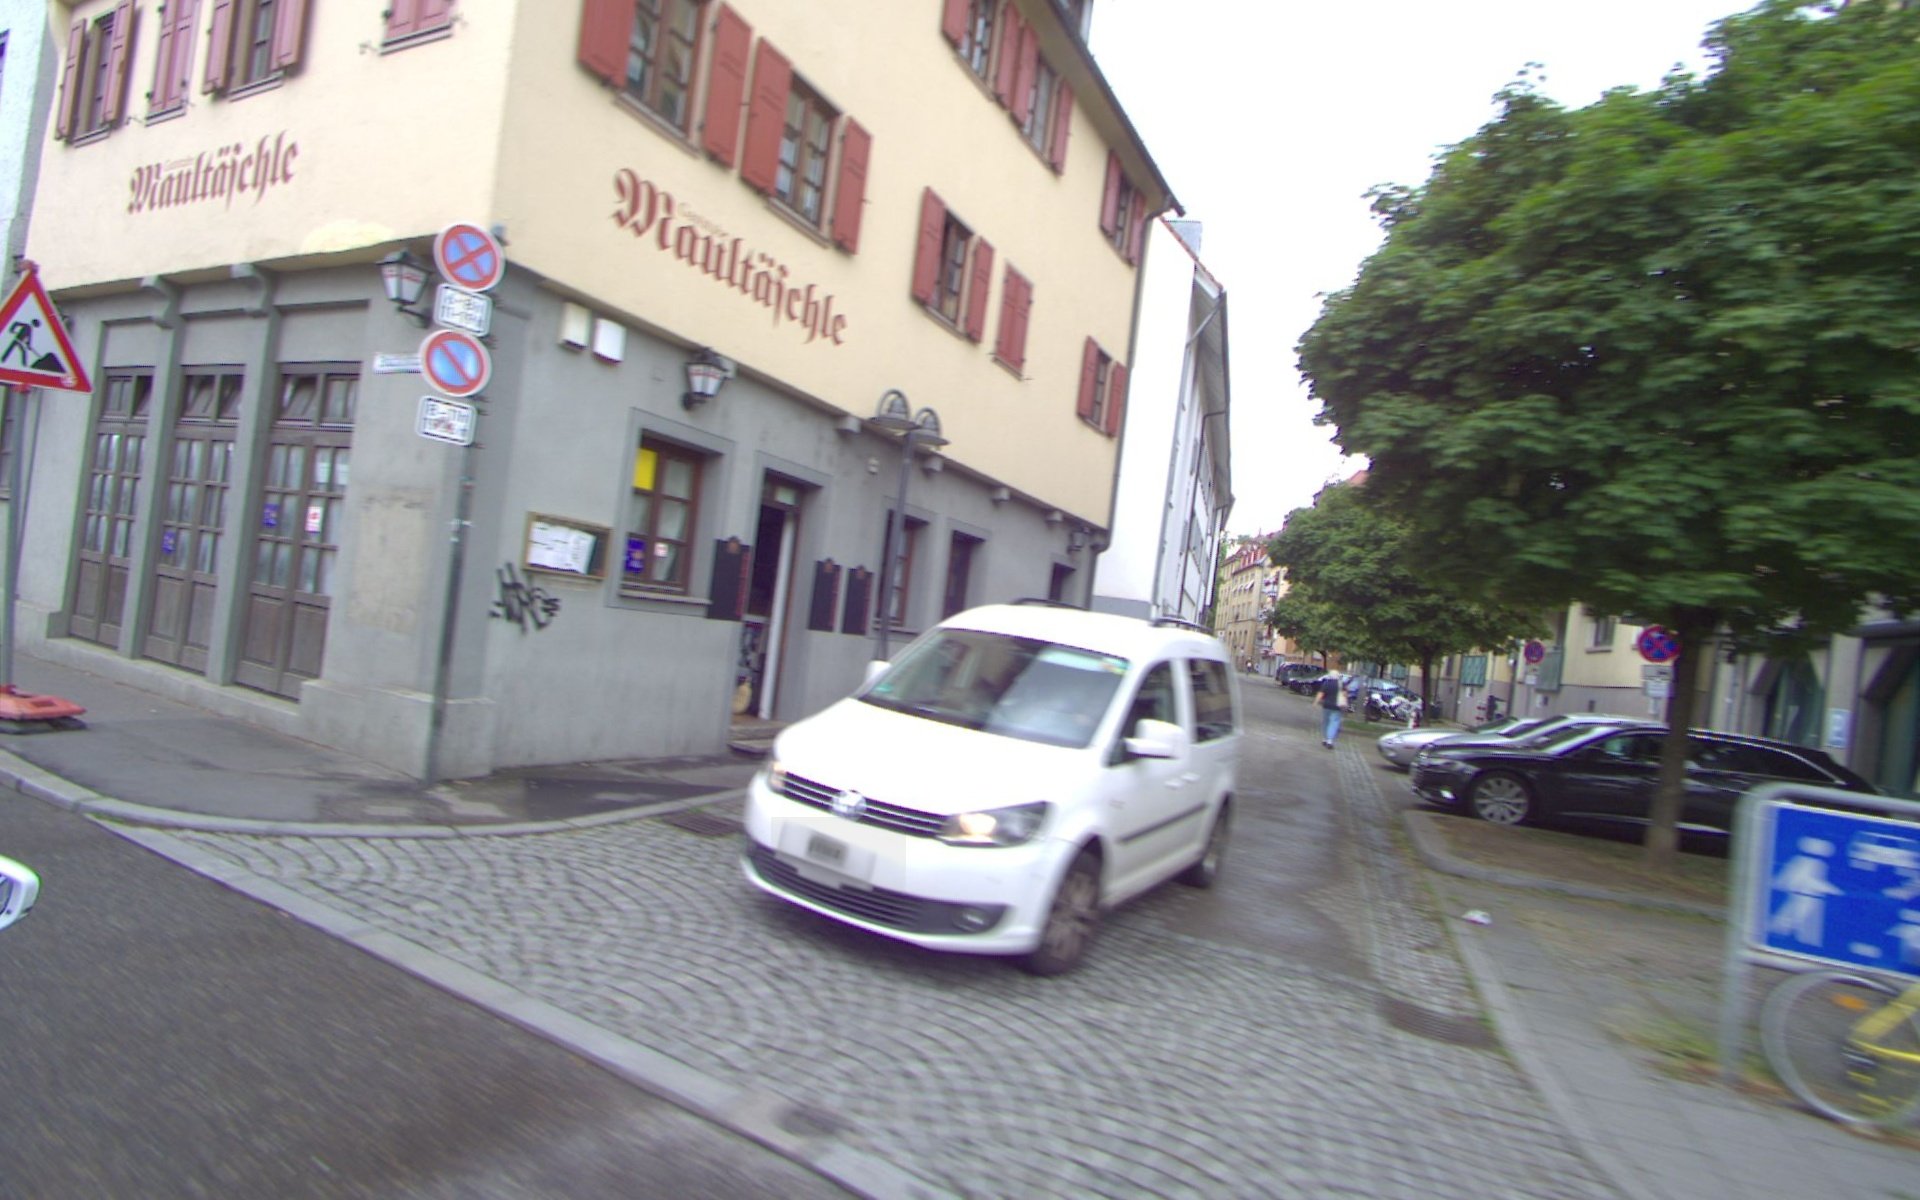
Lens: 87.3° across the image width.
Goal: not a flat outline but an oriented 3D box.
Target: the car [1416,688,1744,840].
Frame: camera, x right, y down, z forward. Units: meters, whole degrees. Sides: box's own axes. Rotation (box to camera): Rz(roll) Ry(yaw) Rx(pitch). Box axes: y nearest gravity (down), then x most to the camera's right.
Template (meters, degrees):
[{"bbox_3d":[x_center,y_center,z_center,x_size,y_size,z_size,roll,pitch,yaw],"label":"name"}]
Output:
[{"bbox_3d":[9.011,2.337,14.999,3.730,1.537,1.713,7,-1,19],"label":"car"}]

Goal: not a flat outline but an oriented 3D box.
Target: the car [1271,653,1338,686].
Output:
[{"bbox_3d":[21.278,4.319,62.274,3.730,1.537,1.713,7,-1,19],"label":"car"}]

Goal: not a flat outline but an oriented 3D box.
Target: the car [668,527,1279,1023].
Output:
[{"bbox_3d":[0.506,0.847,6.296,1.816,1.819,4.251,9,0,29],"label":"car"}]

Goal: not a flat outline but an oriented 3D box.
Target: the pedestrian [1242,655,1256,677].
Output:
[{"bbox_3d":[24.342,5.550,84.709,0.897,1.674,0.896,7,-1,11],"label":"pedestrian"}]

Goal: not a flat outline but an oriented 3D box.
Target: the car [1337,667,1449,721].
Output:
[{"bbox_3d":[16.752,3.608,39.111,3.730,1.537,1.713,7,-1,19],"label":"car"}]

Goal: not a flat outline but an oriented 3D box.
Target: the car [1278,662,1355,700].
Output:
[{"bbox_3d":[19.158,4.358,54.176,3.730,1.537,1.713,7,-1,19],"label":"car"}]

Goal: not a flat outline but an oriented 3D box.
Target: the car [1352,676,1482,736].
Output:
[{"bbox_3d":[16.109,3.711,35.598,3.729,1.537,1.713,7,-1,10],"label":"car"}]

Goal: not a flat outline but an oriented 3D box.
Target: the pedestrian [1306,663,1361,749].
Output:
[{"bbox_3d":[7.892,2.222,21.296,0.897,1.674,0.895,7,-1,21],"label":"pedestrian"}]

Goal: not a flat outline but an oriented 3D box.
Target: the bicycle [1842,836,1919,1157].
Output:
[{"bbox_3d":[4.450,1.614,3.760,1.607,1.120,0.501,7,0,11],"label":"bicycle"}]

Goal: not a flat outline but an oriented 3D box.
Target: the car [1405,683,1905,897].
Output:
[{"bbox_3d":[8.044,2.137,12.215,4.510,1.641,1.849,7,-1,19],"label":"car"}]

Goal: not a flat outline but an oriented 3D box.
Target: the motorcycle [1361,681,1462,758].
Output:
[{"bbox_3d":[10.150,2.662,22.703,1.917,1.440,0.750,6,-1,23],"label":"motorcycle"}]

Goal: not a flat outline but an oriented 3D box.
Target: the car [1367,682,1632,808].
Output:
[{"bbox_3d":[9.306,2.456,17.691,3.730,1.537,1.713,7,-1,19],"label":"car"}]
